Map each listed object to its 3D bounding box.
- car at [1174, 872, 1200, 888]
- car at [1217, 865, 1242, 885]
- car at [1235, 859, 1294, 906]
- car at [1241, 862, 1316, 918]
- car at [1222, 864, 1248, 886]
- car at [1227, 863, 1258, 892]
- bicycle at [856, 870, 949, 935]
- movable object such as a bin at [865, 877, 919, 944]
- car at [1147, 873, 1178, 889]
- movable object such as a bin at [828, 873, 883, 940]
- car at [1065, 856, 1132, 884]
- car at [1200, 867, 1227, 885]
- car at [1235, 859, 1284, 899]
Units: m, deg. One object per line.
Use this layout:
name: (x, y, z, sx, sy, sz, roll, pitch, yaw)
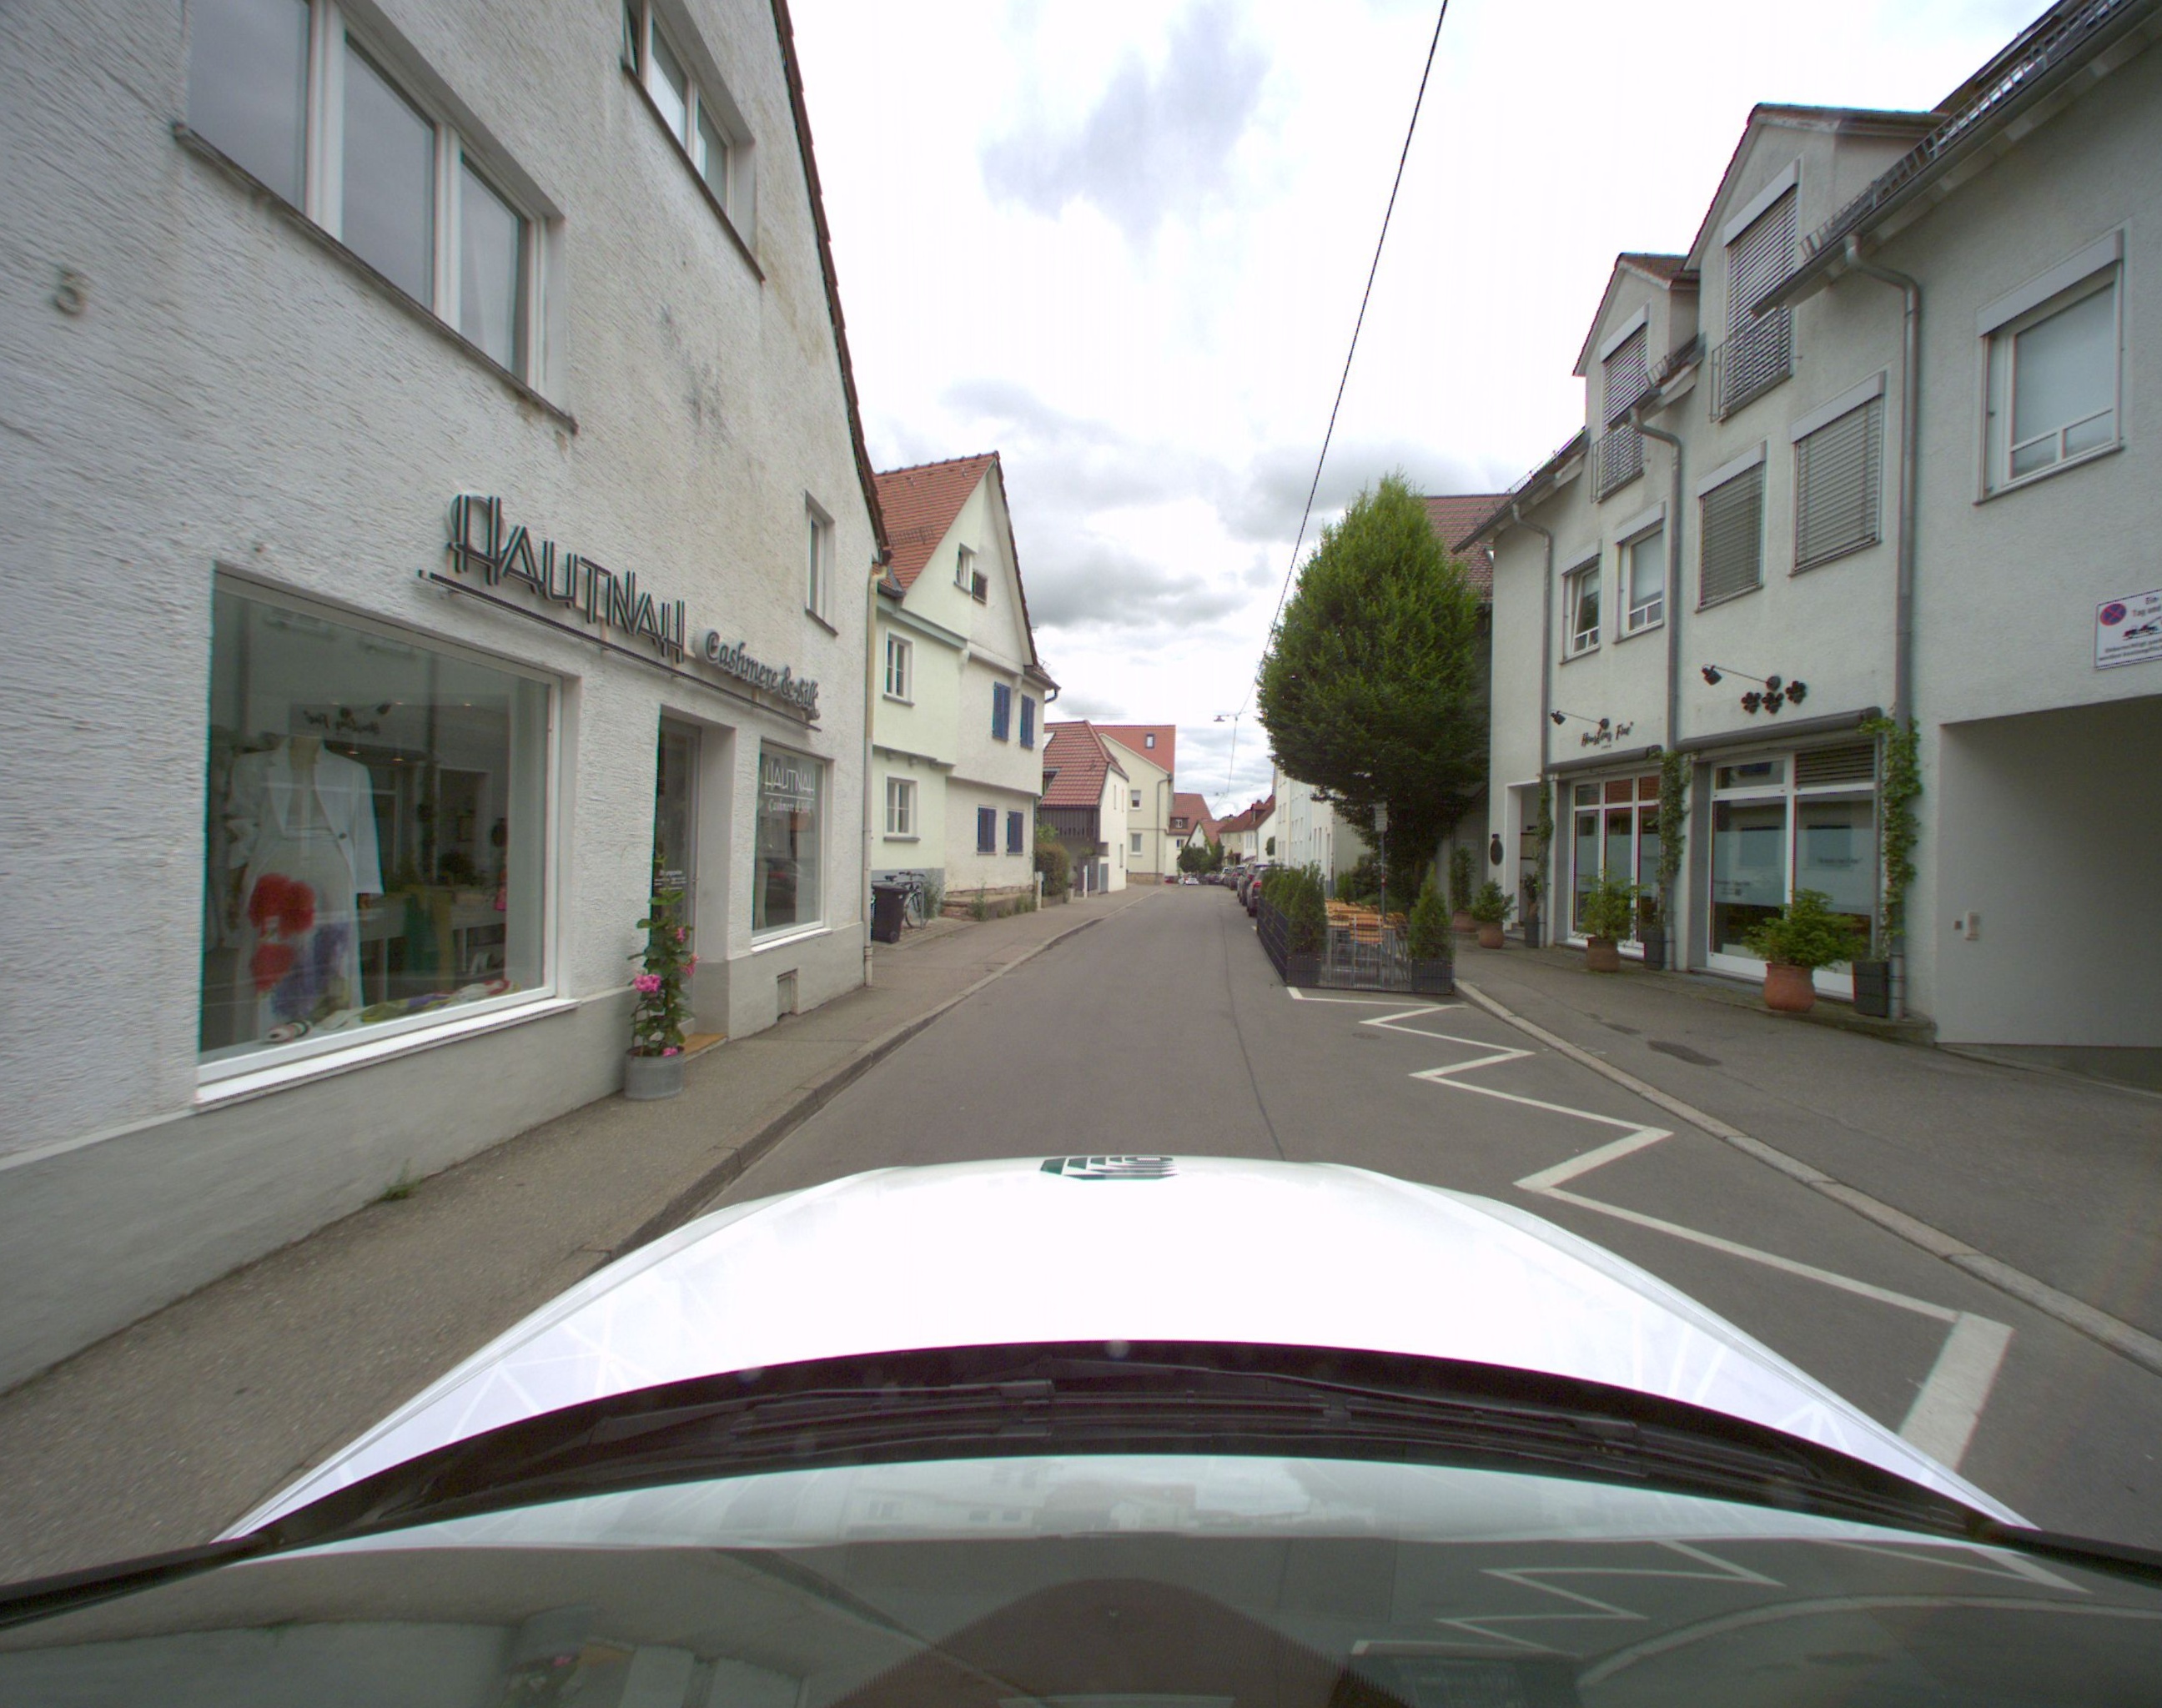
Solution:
car: (12.394, 2.985, 95.124, 1.962, 1.713, 3.988, 2, 0, -9)
car: (13.652, 1.930, 75.039, 1.863, 1.713, 4.154, 1, -2, 6)
car: (6.908, 1.040, 31.078, 1.852, 1.633, 4.913, 1, -1, 9)
car: (5.982, 1.021, 25.153, 1.936, 1.508, 4.833, 2, 0, 10)
car: (12.274, 1.672, 65.083, 1.727, 1.610, 4.007, 4, -1, 7)
car: (9.879, 1.401, 49.949, 1.743, 1.628, 4.547, 2, 0, 10)
bicycle: (-3.194, 0.839, 14.784, 0.438, 1.039, 2.104, 5, 2, 23)
movable object such as a bin: (-3.116, 0.916, 13.437, 0.549, 0.999, 0.589, 6, 3, 19)
car: (10.062, 3.314, 100.996, 2.004, 1.684, 3.965, -4, -2, -26)
movable object such as a bin: (-3.711, 0.847, 13.403, 0.564, 0.999, 0.602, 6, 3, 18)
car: (1.096, 0.992, 50.351, 3.705, 1.412, 2.127, 4, -2, 13)
car: (13.922, 2.358, 85.890, 1.989, 1.713, 3.995, 0, -3, -3)
car: (7.995, 1.079, 36.881, 1.981, 1.615, 4.893, 2, 0, 11)
